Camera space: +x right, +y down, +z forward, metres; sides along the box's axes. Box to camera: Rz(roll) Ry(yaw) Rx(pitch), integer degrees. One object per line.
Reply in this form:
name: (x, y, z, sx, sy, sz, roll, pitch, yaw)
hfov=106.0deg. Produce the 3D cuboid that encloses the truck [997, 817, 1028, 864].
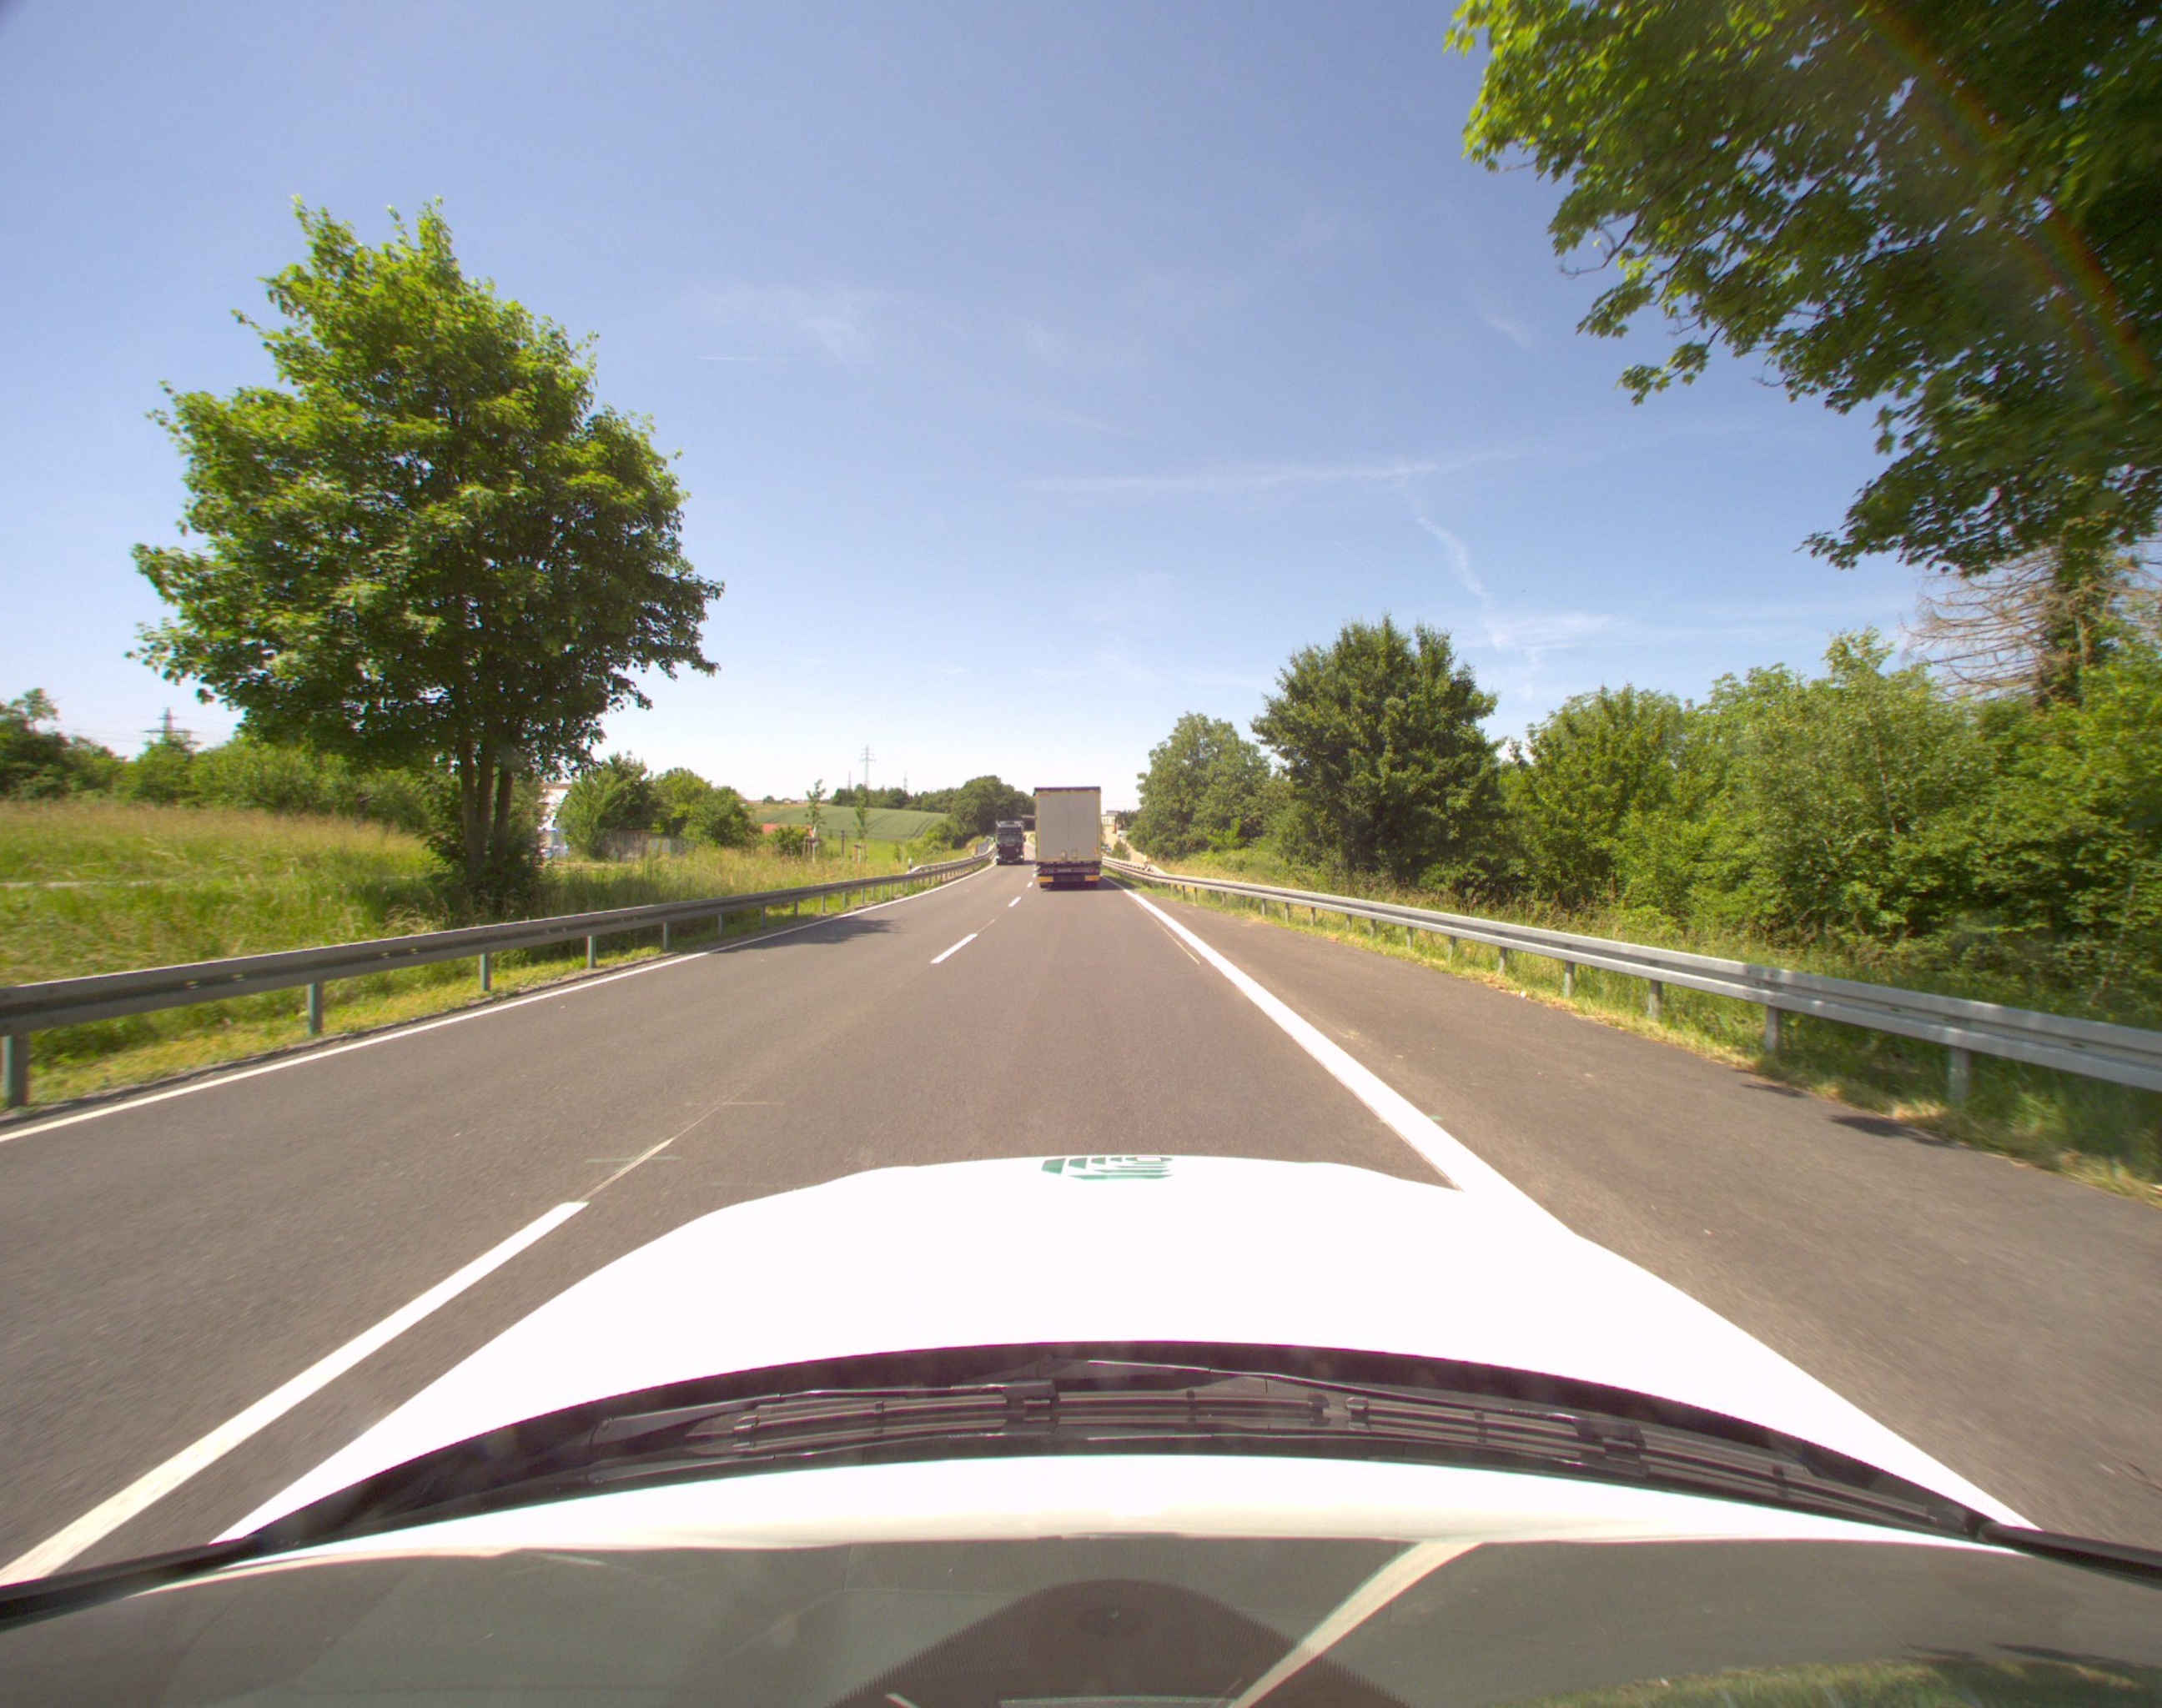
truck: (-6.322, -1.232, 75.611, 2.439, 4.194, 5.645, -1, 1, -2)

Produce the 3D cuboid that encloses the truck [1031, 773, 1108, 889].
truck: (-0.672, -0.921, 35.967, 2.859, 4.359, 9.778, -1, 0, -3)
